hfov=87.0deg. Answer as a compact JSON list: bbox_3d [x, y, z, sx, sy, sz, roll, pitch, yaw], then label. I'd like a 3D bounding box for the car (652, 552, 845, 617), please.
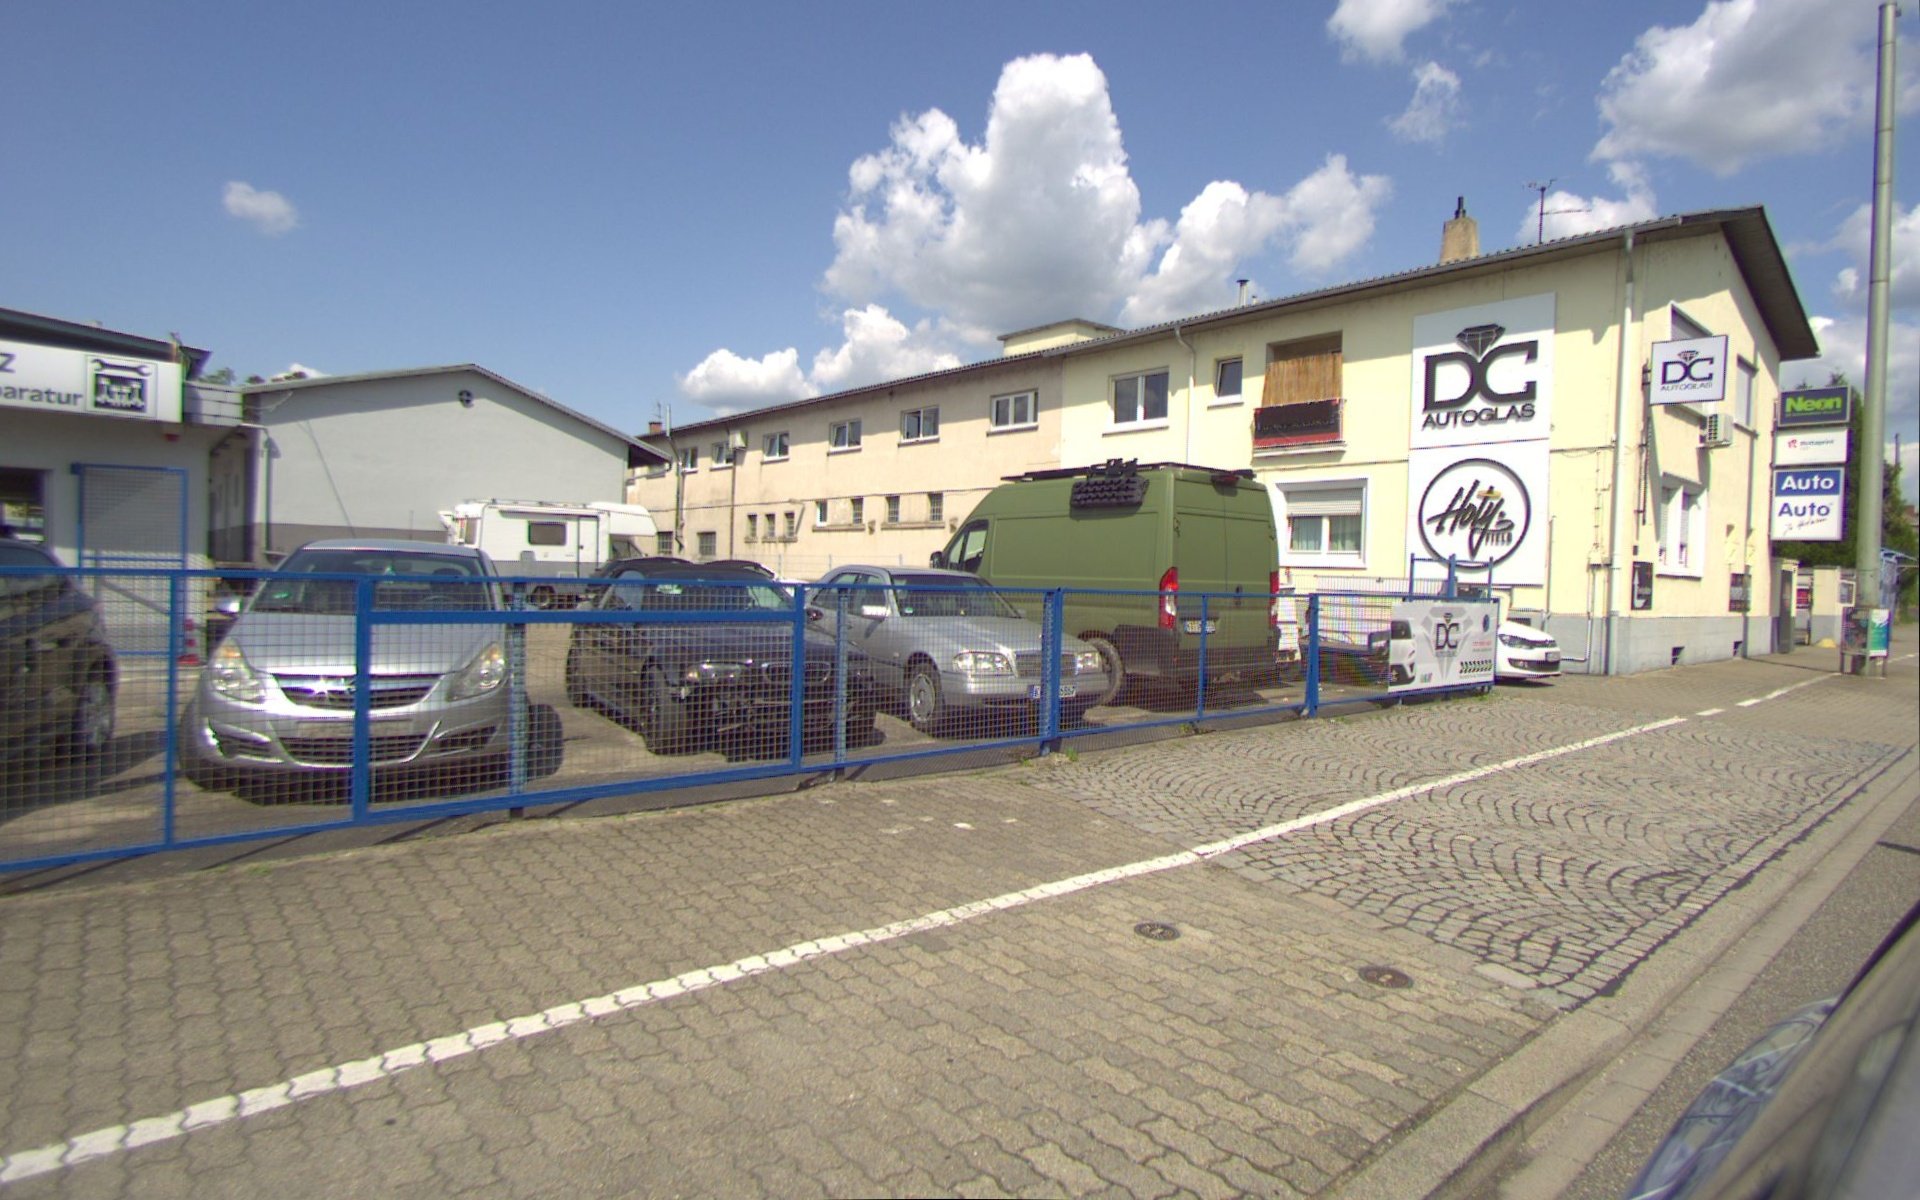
[{"bbox_3d":[-4.845,-0.352,23.540,4.112,1.378,1.645,0,2,-41],"label":"car"}]

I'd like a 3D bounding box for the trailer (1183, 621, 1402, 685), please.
[{"bbox_3d":[4.747,0.721,14.643,1.307,0.674,2.730,0,2,-42],"label":"trailer"}]

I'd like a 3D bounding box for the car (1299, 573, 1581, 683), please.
[{"bbox_3d":[7.532,0.357,16.171,1.527,1.481,3.775,1,2,-39],"label":"car"}]

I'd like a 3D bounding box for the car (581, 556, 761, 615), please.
[{"bbox_3d":[-7.308,-0.362,25.804,4.112,1.378,1.645,0,2,-41],"label":"car"}]

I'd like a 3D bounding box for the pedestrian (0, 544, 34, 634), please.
[{"bbox_3d":[-13.163,-0.159,13.875,0.652,1.224,0.566,1,1,-39],"label":"pedestrian"}]

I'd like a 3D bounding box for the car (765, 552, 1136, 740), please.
[{"bbox_3d":[-0.341,0.283,10.195,1.679,1.470,4.292,1,2,-33],"label":"car"}]

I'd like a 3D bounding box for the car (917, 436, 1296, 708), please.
[{"bbox_3d":[1.585,-0.353,12.248,2.075,2.675,4.208,1,2,-39],"label":"car"}]

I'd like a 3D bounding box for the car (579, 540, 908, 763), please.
[{"bbox_3d":[-2.131,0.270,8.890,1.737,1.470,4.128,1,2,-28],"label":"car"}]

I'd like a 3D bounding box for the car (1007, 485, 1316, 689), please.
[{"bbox_3d":[2.666,-0.232,14.257,1.557,2.436,4.208,1,2,-39],"label":"car"}]

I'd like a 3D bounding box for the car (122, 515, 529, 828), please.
[{"bbox_3d":[-3.901,0.278,6.833,1.736,1.470,3.778,1,2,-24],"label":"car"}]

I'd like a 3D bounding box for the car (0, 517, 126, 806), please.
[{"bbox_3d":[-5.630,0.301,4.866,1.606,1.470,3.701,1,2,-25],"label":"car"}]

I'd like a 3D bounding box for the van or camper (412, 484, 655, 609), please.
[{"bbox_3d":[-11.305,-1.327,27.104,5.556,3.002,2.272,0,2,-42],"label":"van or camper"}]
